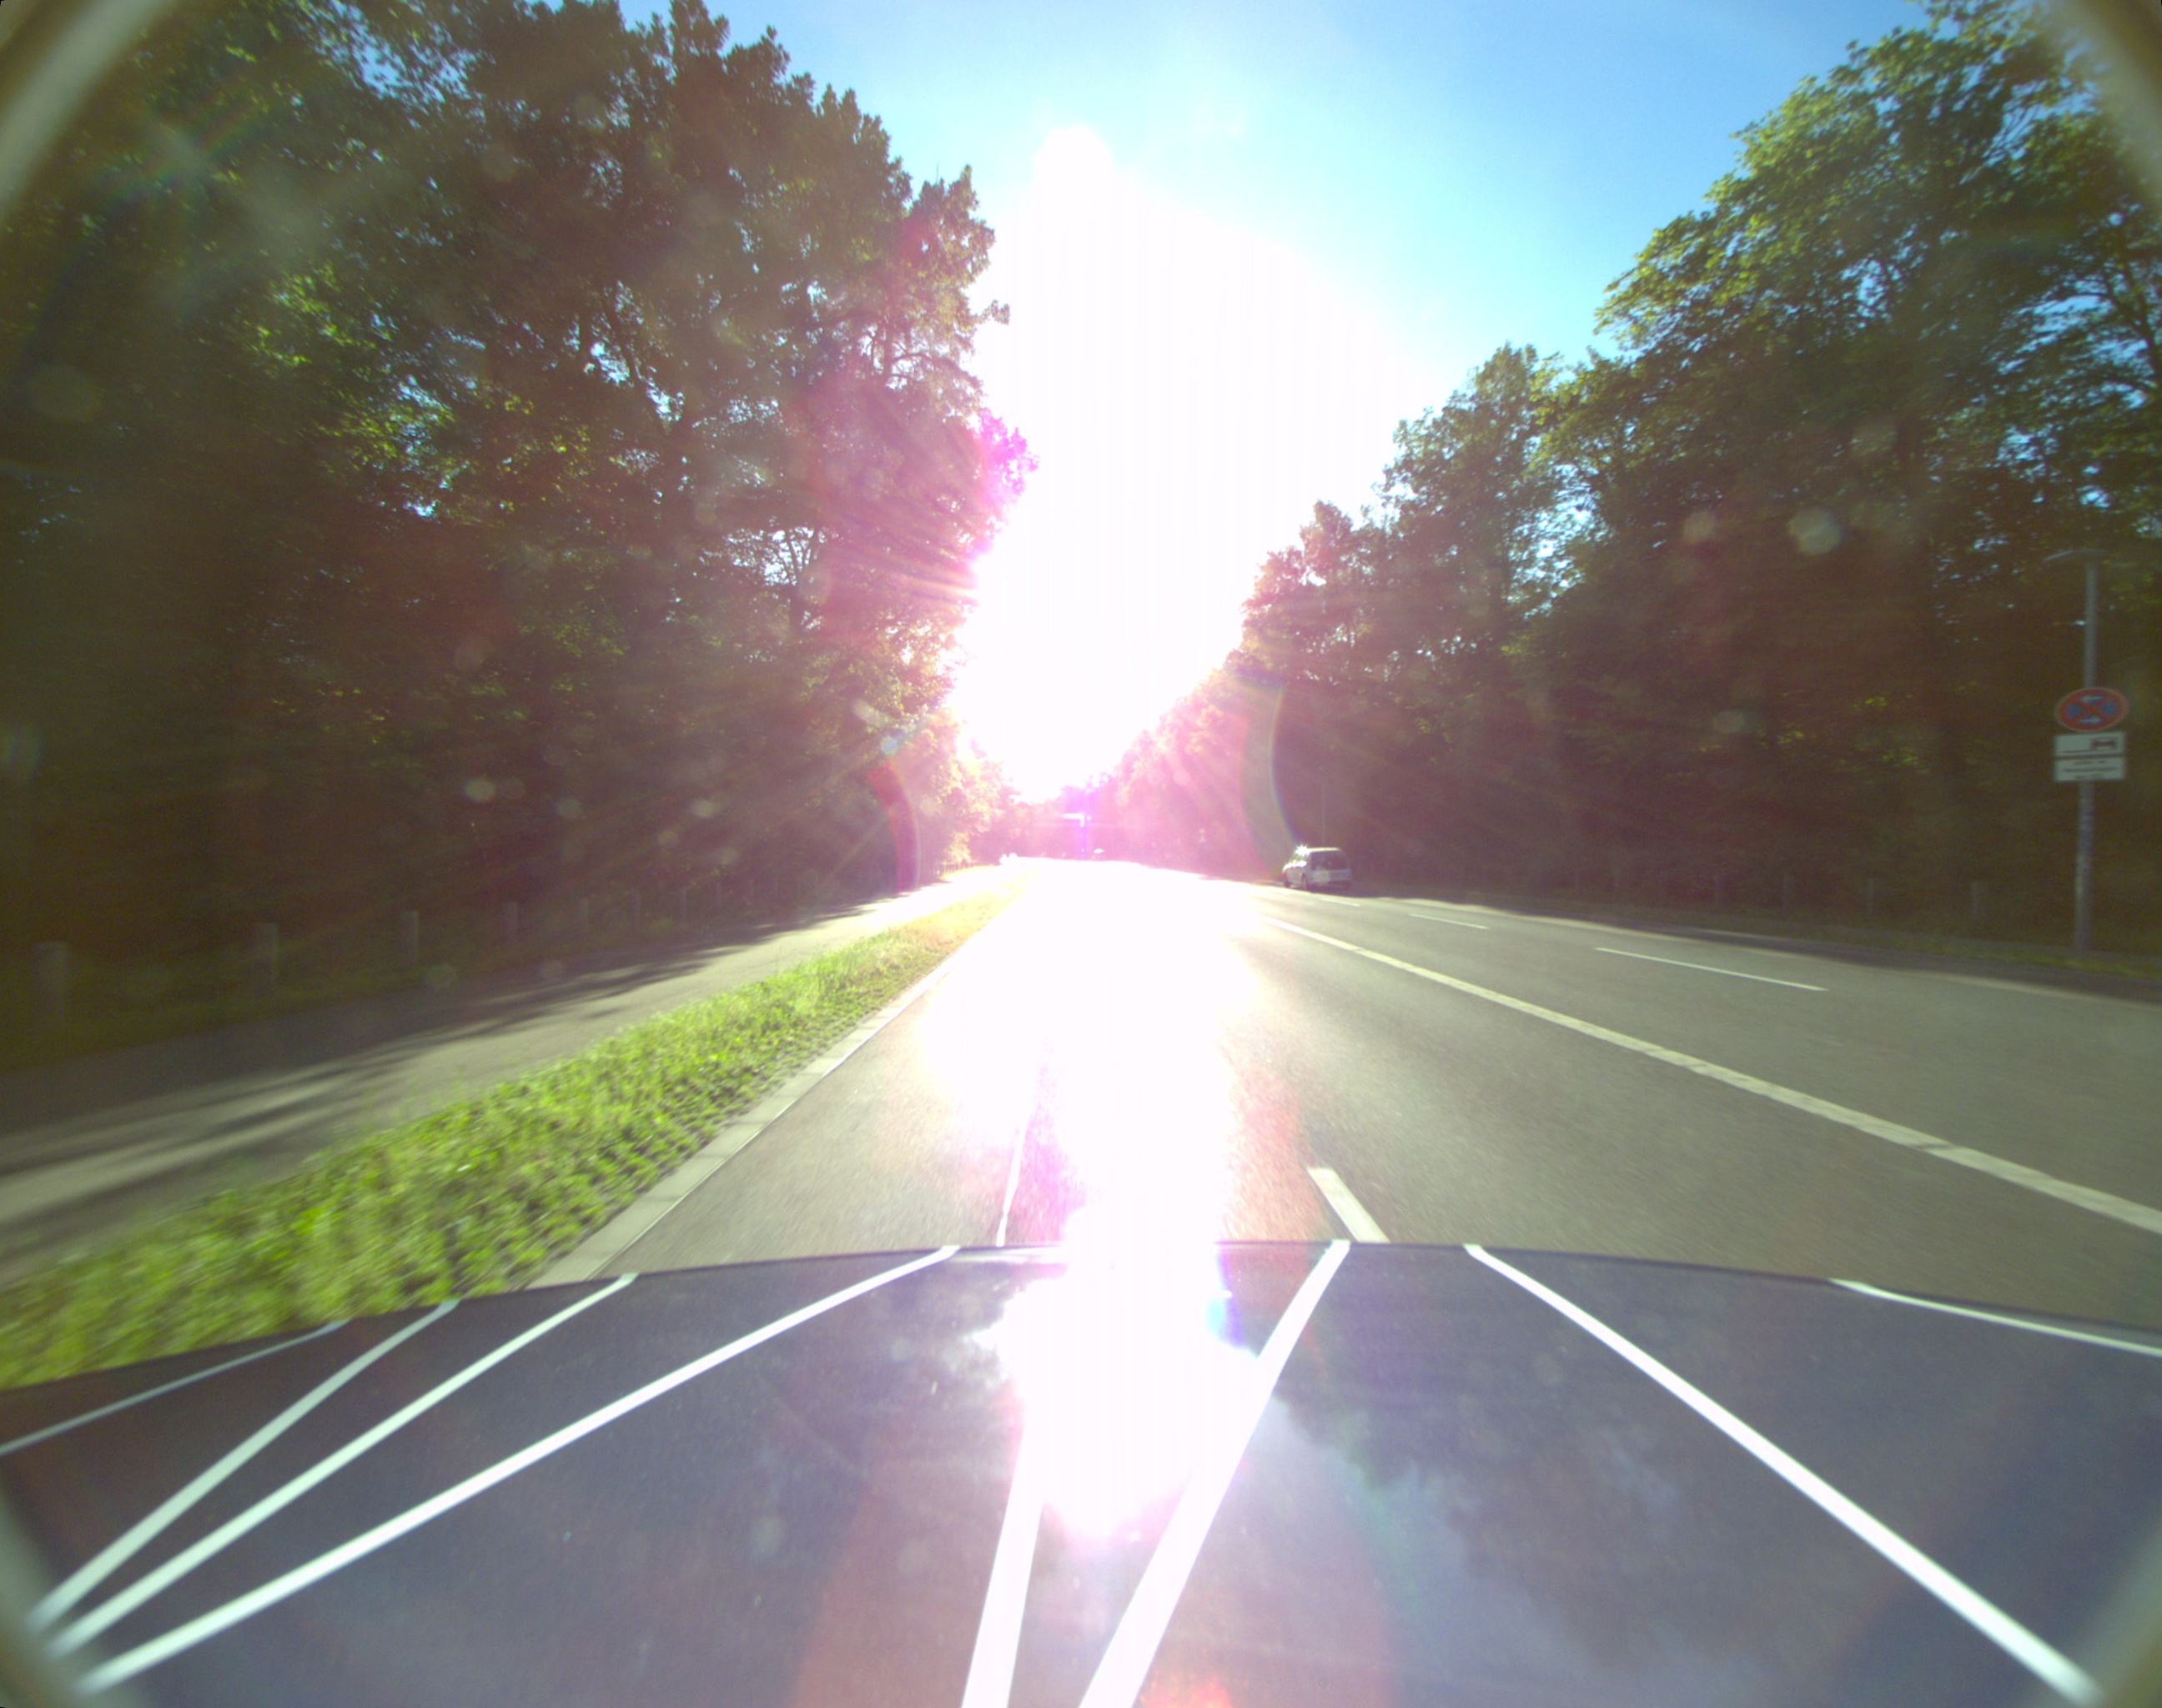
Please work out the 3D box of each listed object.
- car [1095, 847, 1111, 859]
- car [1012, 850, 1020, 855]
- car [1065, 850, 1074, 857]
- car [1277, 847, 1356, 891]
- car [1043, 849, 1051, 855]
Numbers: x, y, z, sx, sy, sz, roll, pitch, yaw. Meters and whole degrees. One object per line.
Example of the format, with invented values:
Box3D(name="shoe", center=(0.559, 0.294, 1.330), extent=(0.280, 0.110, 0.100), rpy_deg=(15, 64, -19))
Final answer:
Box3D(name="car", center=(3.426, -0.150, 120.021), extent=(2.007, 1.815, 4.997), rpy_deg=(-2, 0, -4))
Box3D(name="car", center=(-20.549, -0.472, 240.772), extent=(1.828, 1.674, 3.995), rpy_deg=(-1, 0, -14))
Box3D(name="car", center=(-2.610, -0.187, 172.102), extent=(1.518, 1.457, 4.310), rpy_deg=(-1, 0, -9))
Box3D(name="car", center=(8.589, 0.515, 28.069), extent=(1.591, 1.429, 4.309), rpy_deg=(-3, 0, 1))
Box3D(name="car", center=(-9.689, -0.475, 216.764), extent=(1.848, 1.539, 3.997), rpy_deg=(2, -1, -8))
